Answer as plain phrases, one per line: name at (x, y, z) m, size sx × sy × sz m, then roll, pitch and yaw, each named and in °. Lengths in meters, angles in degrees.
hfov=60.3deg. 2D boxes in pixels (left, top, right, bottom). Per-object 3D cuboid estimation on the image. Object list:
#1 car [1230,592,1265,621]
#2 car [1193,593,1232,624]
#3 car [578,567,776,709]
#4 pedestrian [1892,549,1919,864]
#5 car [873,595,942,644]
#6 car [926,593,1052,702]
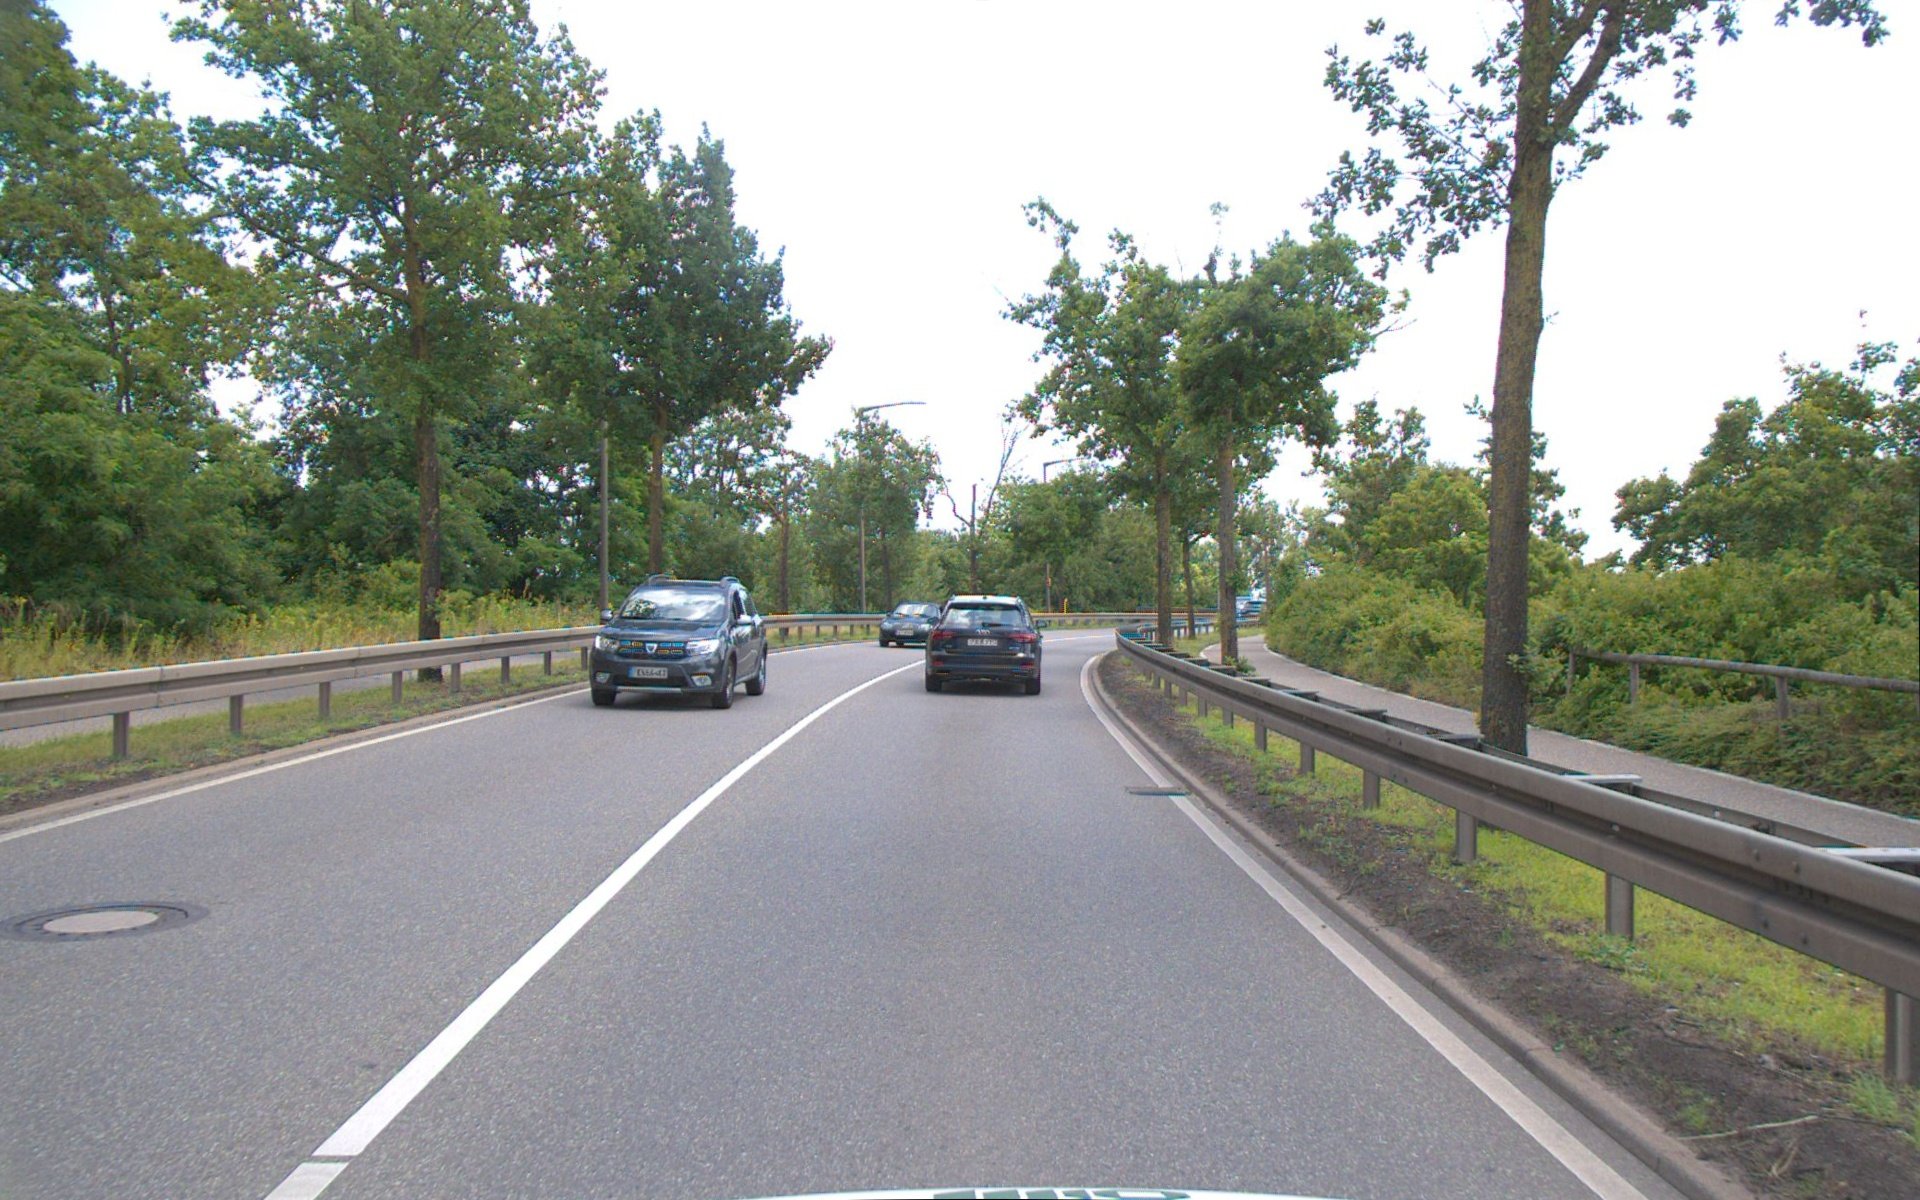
car at (15.645, 0.323, 89.813) m, size 1.545 × 1.546 × 4.003 m, roll 0°, pitch 0°, yaw 14°
car at (15.028, 0.491, 98.339) m, size 1.813 × 1.739 × 4.315 m, roll 2°, pitch 0°, yaw 15°
car at (-3.565, 0.440, 21.544) m, size 1.744 × 1.635 × 4.159 m, roll 1°, pitch 0°, yaw 1°
pedestrian at (5.396, 0.558, 8.442) m, size 0.643 × 1.671 × 1.054 m, roll -1°, pitch 0°, yaw -1°
car at (-1.411, 0.525, 45.582) m, size 1.559 × 1.239 × 3.792 m, roll 2°, pitch 0°, yaw 3°
car at (0.455, 0.676, 26.017) m, size 1.790 × 1.517 × 4.207 m, roll 1°, pitch 0°, yaw 1°
